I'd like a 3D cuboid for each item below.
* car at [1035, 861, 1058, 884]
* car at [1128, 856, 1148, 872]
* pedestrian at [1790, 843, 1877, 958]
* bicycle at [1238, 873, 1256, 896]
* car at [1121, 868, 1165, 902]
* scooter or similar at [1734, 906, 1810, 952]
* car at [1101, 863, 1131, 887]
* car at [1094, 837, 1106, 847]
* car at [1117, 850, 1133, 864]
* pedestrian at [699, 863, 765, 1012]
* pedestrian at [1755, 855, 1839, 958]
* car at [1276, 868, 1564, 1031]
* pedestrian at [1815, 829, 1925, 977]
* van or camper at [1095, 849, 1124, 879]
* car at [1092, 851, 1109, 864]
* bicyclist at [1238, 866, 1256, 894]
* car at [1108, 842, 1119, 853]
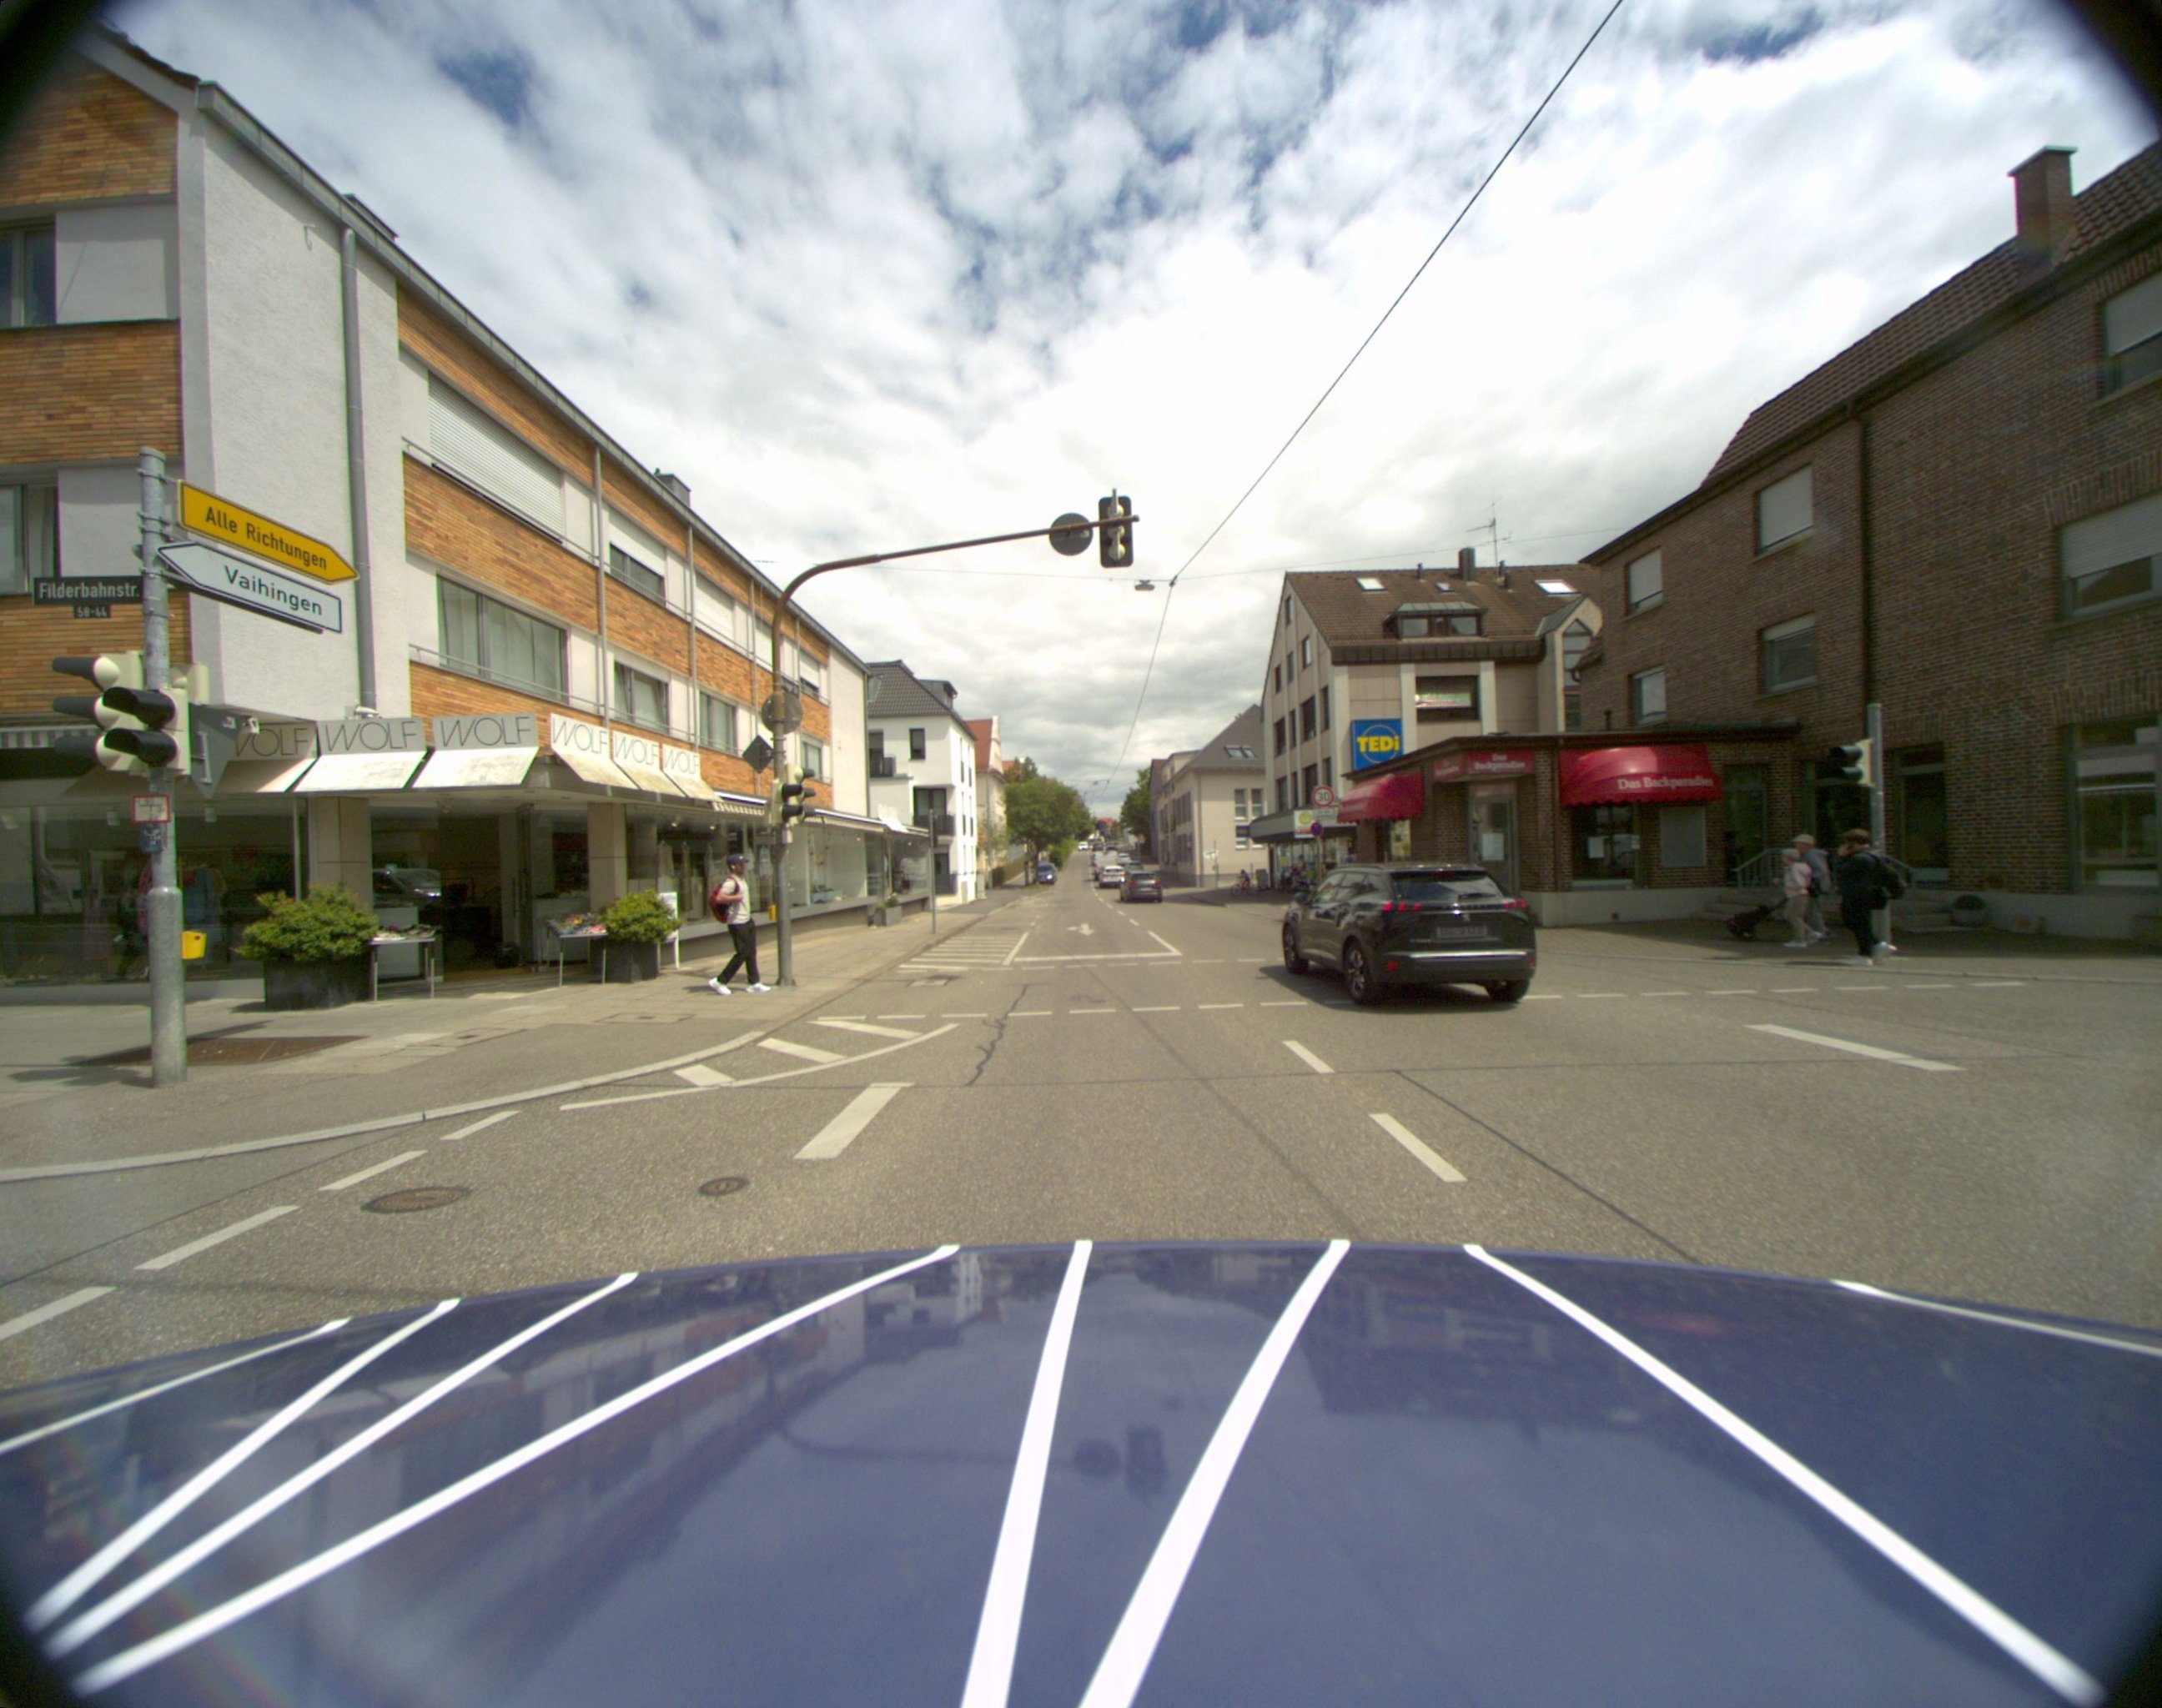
[{"bbox_3d":[-2.855,1.485,63.188,1.698,1.733,4.159,-2,1,0],"label":"car"},{"bbox_3d":[5.512,0.965,74.091,1.665,1.322,3.473,-1,2,0],"label":"car"},{"bbox_3d":[11.319,0.671,11.449,0.525,1.649,0.761,-3,1,-2],"label":"pedestrian"},{"bbox_3d":[8.470,1.550,38.902,0.444,1.044,1.734,-5,1,0],"label":"bicycle"},{"bbox_3d":[3.093,1.557,38.733,1.794,1.580,4.100,-1,-1,-1],"label":"car"},{"bbox_3d":[10.959,1.180,12.063,0.380,0.642,0.808,0,0,-22],"label":"scooter or similar"},{"bbox_3d":[2.516,1.497,55.438,1.785,1.630,4.219,0,0,-2],"label":"car"},{"bbox_3d":[3.642,-2.310,146.295,1.946,1.709,4.597,-1,-1,-1],"label":"car"},{"bbox_3d":[5.349,0.393,92.114,1.737,1.480,4.065,-1,3,0],"label":"car"},{"bbox_3d":[-4.473,1.031,9.730,0.614,1.803,0.774,3,-1,-31],"label":"pedestrian"},{"bbox_3d":[10.774,0.769,11.453,0.525,1.476,0.761,-3,1,-2],"label":"pedestrian"},{"bbox_3d":[3.734,0.944,9.214,1.687,1.488,3.967,-1,-1,0],"label":"car"},{"bbox_3d":[10.005,0.591,9.660,0.627,1.786,0.720,-3,1,-2],"label":"pedestrian"},{"bbox_3d":[2.453,0.907,67.363,2.154,2.540,5.438,-1,-1,-1],"label":"van or camper"},{"bbox_3d":[2.417,0.461,94.180,1.780,1.603,4.119,-1,0,-2],"label":"car"},{"bbox_3d":[8.455,1.309,38.764,0.669,1.330,0.761,-5,1,0],"label":"bicyclist"},{"bbox_3d":[5.320,-1.084,125.205,1.673,1.545,3.964,-1,3,0],"label":"car"}]
